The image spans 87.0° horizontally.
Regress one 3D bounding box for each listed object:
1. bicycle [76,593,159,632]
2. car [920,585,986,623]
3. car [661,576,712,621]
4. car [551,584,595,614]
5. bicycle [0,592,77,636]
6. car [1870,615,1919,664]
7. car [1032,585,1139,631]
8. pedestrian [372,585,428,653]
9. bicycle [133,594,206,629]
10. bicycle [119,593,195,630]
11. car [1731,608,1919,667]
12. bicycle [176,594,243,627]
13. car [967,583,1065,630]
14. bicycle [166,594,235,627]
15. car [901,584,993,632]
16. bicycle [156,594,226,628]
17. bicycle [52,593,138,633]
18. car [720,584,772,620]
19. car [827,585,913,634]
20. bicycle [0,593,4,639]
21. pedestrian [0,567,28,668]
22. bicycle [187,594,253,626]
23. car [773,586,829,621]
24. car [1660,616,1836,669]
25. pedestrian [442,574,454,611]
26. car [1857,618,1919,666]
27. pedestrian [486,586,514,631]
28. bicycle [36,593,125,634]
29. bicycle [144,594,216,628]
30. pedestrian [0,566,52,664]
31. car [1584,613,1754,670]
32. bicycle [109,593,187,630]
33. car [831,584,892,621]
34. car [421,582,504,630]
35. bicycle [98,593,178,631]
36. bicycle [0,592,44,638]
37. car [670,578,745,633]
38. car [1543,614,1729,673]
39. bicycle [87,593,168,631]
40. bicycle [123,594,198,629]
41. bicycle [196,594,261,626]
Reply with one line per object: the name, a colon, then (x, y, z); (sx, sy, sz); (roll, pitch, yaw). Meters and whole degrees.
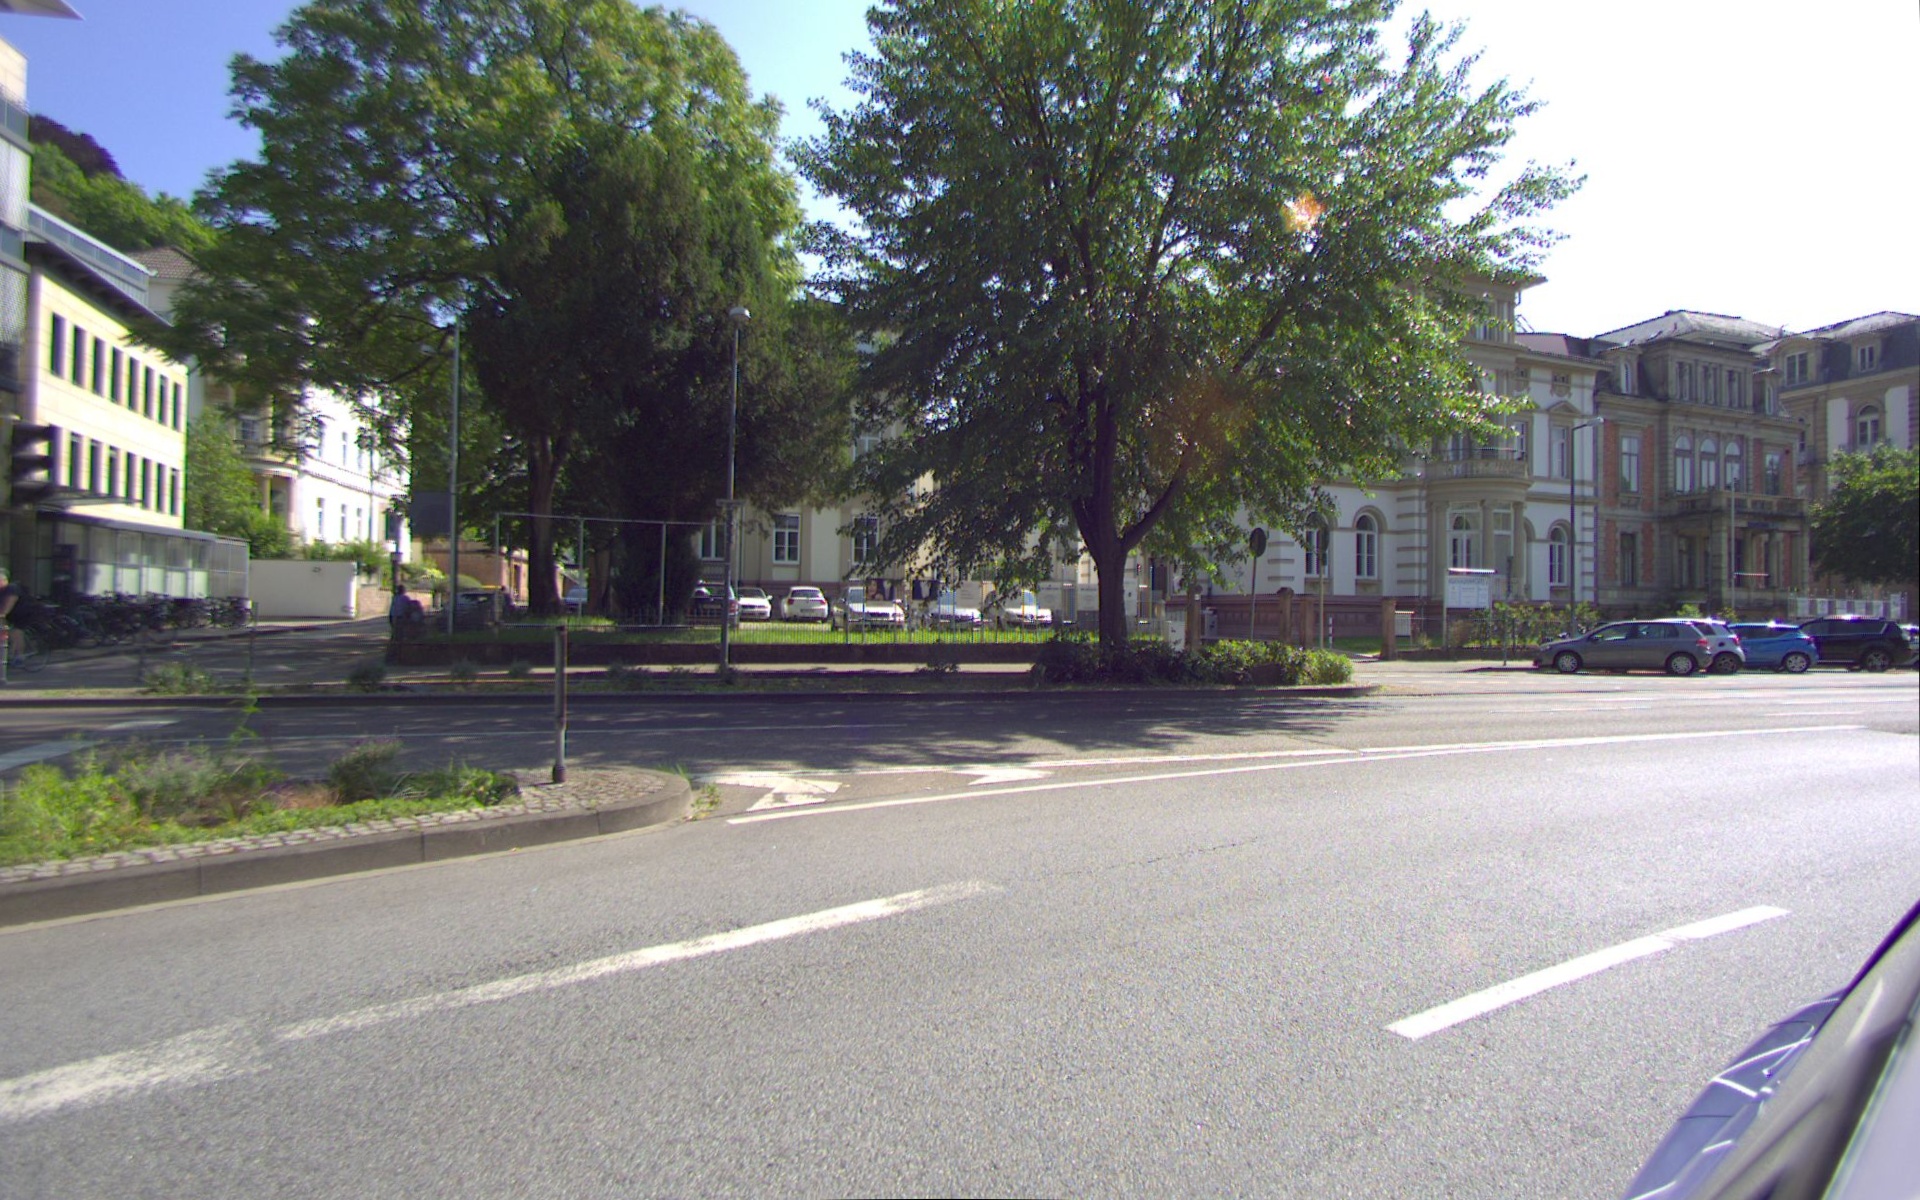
bicycle: (-24.267, 0.361, 29.168); (1.797, 1.099, 0.540); (1, -1, -11)
car: (-0.364, 0.165, 43.289); (1.826, 1.529, 4.070); (1, 0, -15)
car: (-10.559, -0.040, 39.104); (1.783, 1.624, 4.330); (1, 0, -15)
car: (-22.465, -0.067, 58.874); (1.795, 1.667, 4.141); (1, 0, -13)
bicycle: (-23.935, 0.362, 26.023); (1.797, 1.099, 0.540); (1, -1, -11)
car: (33.599, 1.326, 33.908); (4.273, 1.650, 1.697); (0, -2, 27)
car: (3.864, 0.252, 31.970); (1.949, 1.353, 4.061); (1, 0, -15)
pedestrian: (-13.515, 0.448, 24.433); (0.727, 1.601, 1.123); (0, 0, 0)
bicycle: (-25.476, 0.358, 32.622); (1.797, 1.099, 0.540); (1, -1, -11)
bicycle: (-24.980, 0.359, 31.499); (1.797, 1.099, 0.540); (1, -1, -11)
car: (26.760, 1.133, 31.364); (4.228, 1.718, 1.699); (0, -2, 25)
bicycle: (-25.929, 0.357, 34.989); (1.797, 1.099, 0.540); (1, -1, -11)
car: (1.662, 0.212, 31.437); (1.821, 1.353, 4.061); (1, 0, -15)
bicycle: (-25.829, 0.357, 34.423); (1.797, 1.099, 0.540); (1, -1, -11)
car: (-0.474, 0.243, 30.778); (1.783, 1.353, 4.106); (1, 0, -15)
bicycle: (-25.710, 0.357, 33.848); (1.797, 1.099, 0.540); (1, -1, -11)
bicycle: (-24.313, 0.361, 28.468); (1.797, 1.099, 0.540); (1, -1, -11)
car: (-8.581, 0.084, 40.304); (1.783, 1.353, 4.061); (1, 0, -15)
car: (-2.755, 0.271, 30.055); (1.783, 1.353, 4.489); (1, 0, -15)
bicycle: (-23.512, 0.363, 23.552); (1.797, 1.099, 0.540); (1, -1, -11)
pedestrian: (-18.384, 0.328, 19.121); (0.812, 1.878, 0.774); (1, -2, -9)
bicycle: (-26.012, 0.356, 35.589); (1.797, 1.099, 0.540); (1, -1, -11)
car: (-6.474, 0.150, 41.004); (1.783, 1.353, 4.097); (1, 0, -15)
car: (23.236, 1.217, 30.007); (3.770, 1.461, 1.699); (0, -1, 25)
pedestrian: (-28.947, -0.414, 57.209); (0.483, 2.039, 0.580); (1, -1, -18)
car: (30.532, 1.335, 32.512); (2.261, 1.502, 1.193); (0, -2, 21)
pedestrian: (-16.113, 0.285, 35.452); (0.754, 1.566, 0.668); (1, -1, -11)
bicycle: (-24.175, 0.361, 27.833); (1.797, 1.099, 0.540); (1, -1, -11)
bicycle: (-25.590, 0.358, 33.234); (1.797, 1.099, 0.540); (1, -1, -11)
pedestrian: (-18.606, 0.291, 19.877); (0.812, 1.878, 0.774); (1, -1, -8)
car: (20.200, 1.142, 29.036); (3.775, 1.531, 1.697); (0, -2, 28)
bicycle: (-24.782, 0.360, 30.908); (1.797, 1.099, 0.540); (1, -1, -11)
car: (-4.083, 0.113, 41.335); (1.783, 1.437, 4.070); (1, 0, -15)
car: (-18.153, 0.210, 37.115); (1.795, 1.667, 4.141); (1, 0, -13)
bicycle: (-24.613, 0.360, 30.326); (1.797, 1.099, 0.540); (1, -1, -11)
bicycle: (-23.652, 0.363, 24.770); (1.797, 1.099, 0.540); (1, -1, -11)
car: (-7.402, 0.158, 29.429); (1.838, 1.494, 4.165); (1, 0, -18)
car: (18.225, 1.128, 27.530); (4.074, 1.480, 1.807); (0, -2, 31)
bicycle: (-24.458, 0.360, 29.749); (1.797, 1.099, 0.540); (1, -1, -11)
bicycle: (-25.291, 0.358, 32.045); (1.797, 1.099, 0.540); (1, -1, -11)
bicycle: (-26.159, 0.356, 36.204); (1.797, 1.099, 0.540); (1, -1, -11)
